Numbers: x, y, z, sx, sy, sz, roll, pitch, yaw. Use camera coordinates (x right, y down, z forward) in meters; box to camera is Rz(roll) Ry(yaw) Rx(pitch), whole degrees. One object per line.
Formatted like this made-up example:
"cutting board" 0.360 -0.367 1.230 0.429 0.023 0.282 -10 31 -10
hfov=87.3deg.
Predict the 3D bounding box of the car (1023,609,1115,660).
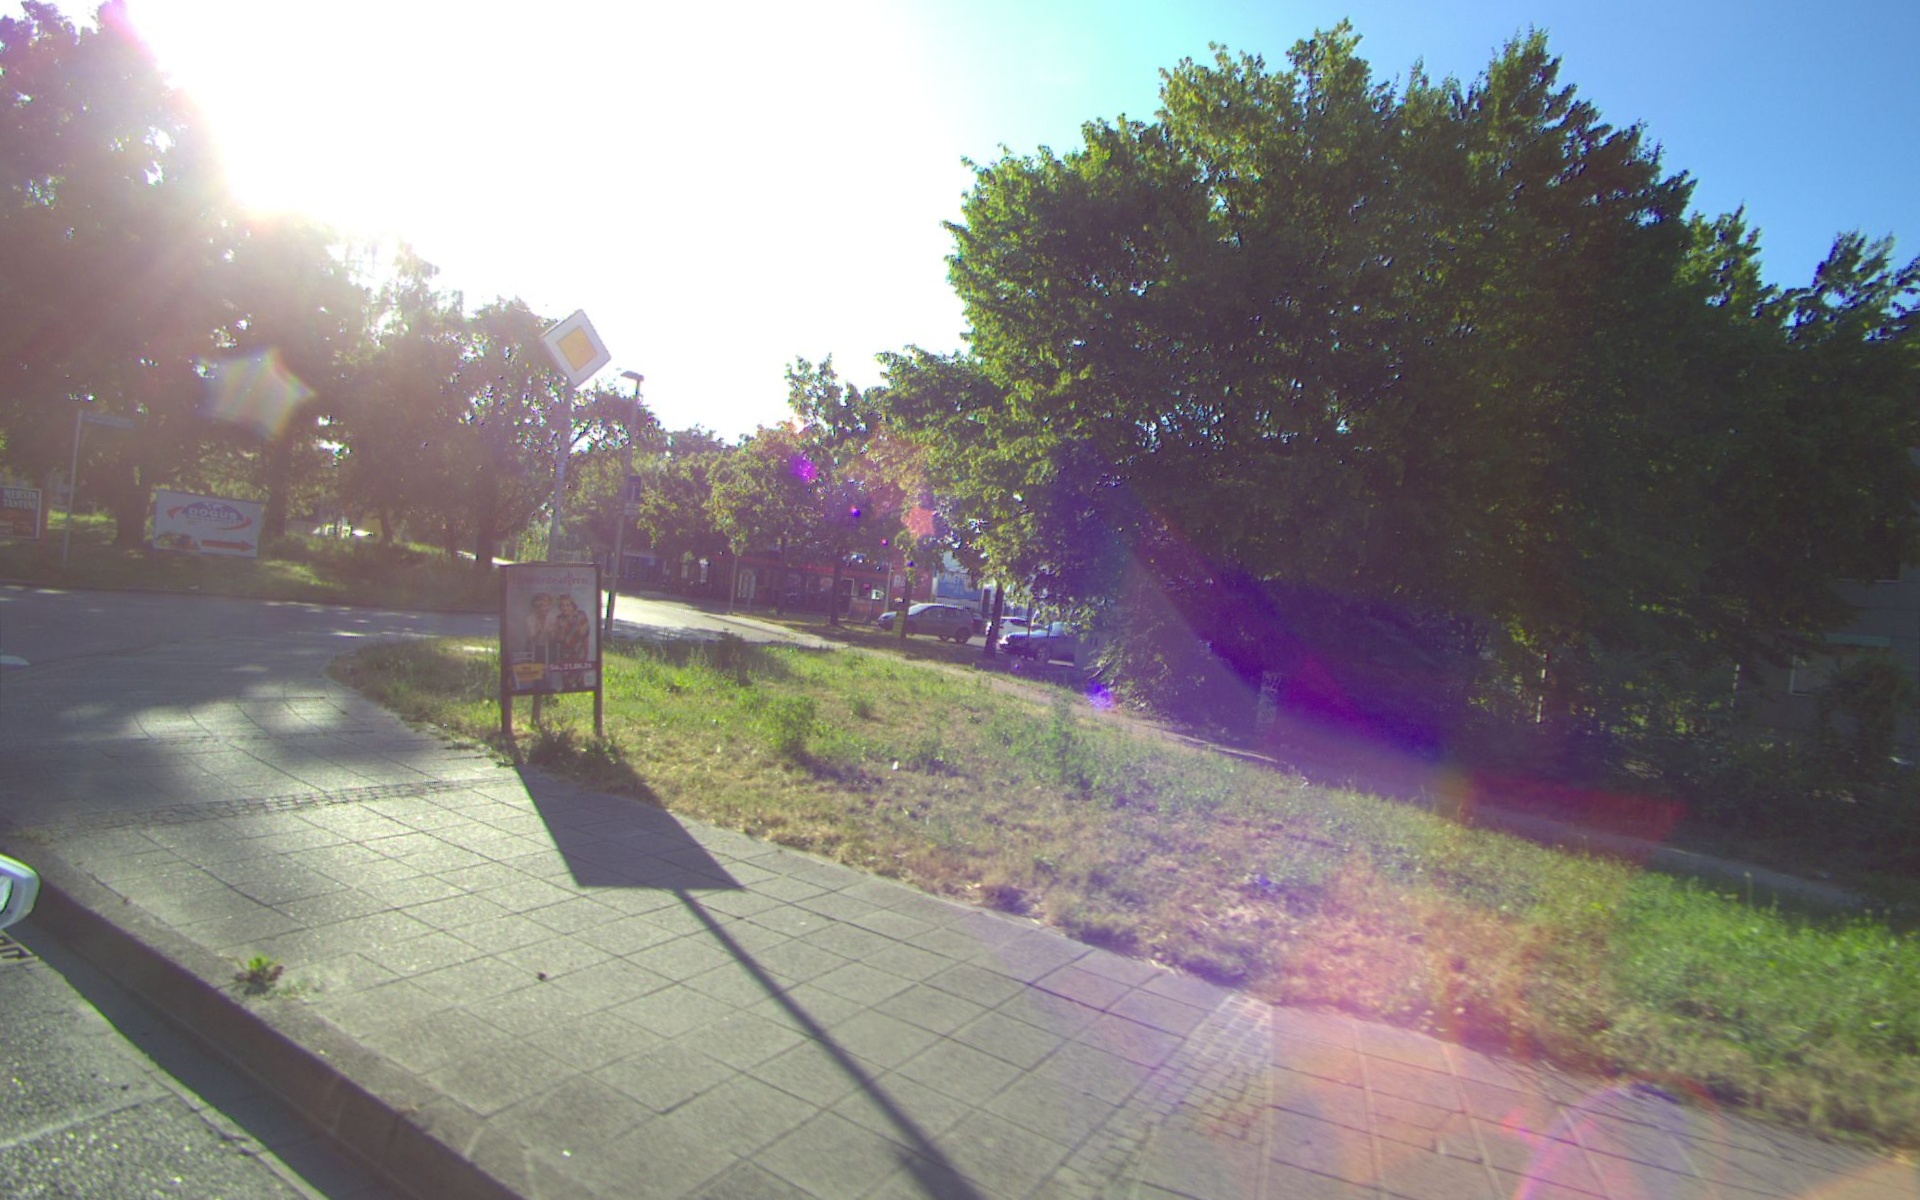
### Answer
"car" 5.775 1.828 52.990 4.613 1.997 1.873 10 -2 -38

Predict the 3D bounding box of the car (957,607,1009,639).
"car" 1.515 1.498 67.503 1.683 1.708 3.839 9 -2 -27

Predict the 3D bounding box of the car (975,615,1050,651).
"car" 3.027 1.896 57.434 3.907 1.499 1.672 9 -2 -32

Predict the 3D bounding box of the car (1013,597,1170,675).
"car" 3.950 1.090 29.980 4.398 1.841 1.692 7 0 -31

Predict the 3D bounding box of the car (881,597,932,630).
"car" -3.479 0.849 65.181 1.683 1.708 3.839 9 -2 -27

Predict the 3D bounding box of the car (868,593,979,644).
"car" -1.500 0.776 41.738 4.152 1.493 1.776 9 -2 -29

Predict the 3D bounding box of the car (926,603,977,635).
"car" -0.585 1.254 66.437 1.683 1.708 3.839 9 -2 -27

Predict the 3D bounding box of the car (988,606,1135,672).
"car" 3.415 1.313 33.539 4.621 1.493 1.775 9 -2 -31

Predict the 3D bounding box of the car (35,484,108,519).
"car" -56.979 -6.306 64.496 4.319 1.750 1.816 6 1 25
